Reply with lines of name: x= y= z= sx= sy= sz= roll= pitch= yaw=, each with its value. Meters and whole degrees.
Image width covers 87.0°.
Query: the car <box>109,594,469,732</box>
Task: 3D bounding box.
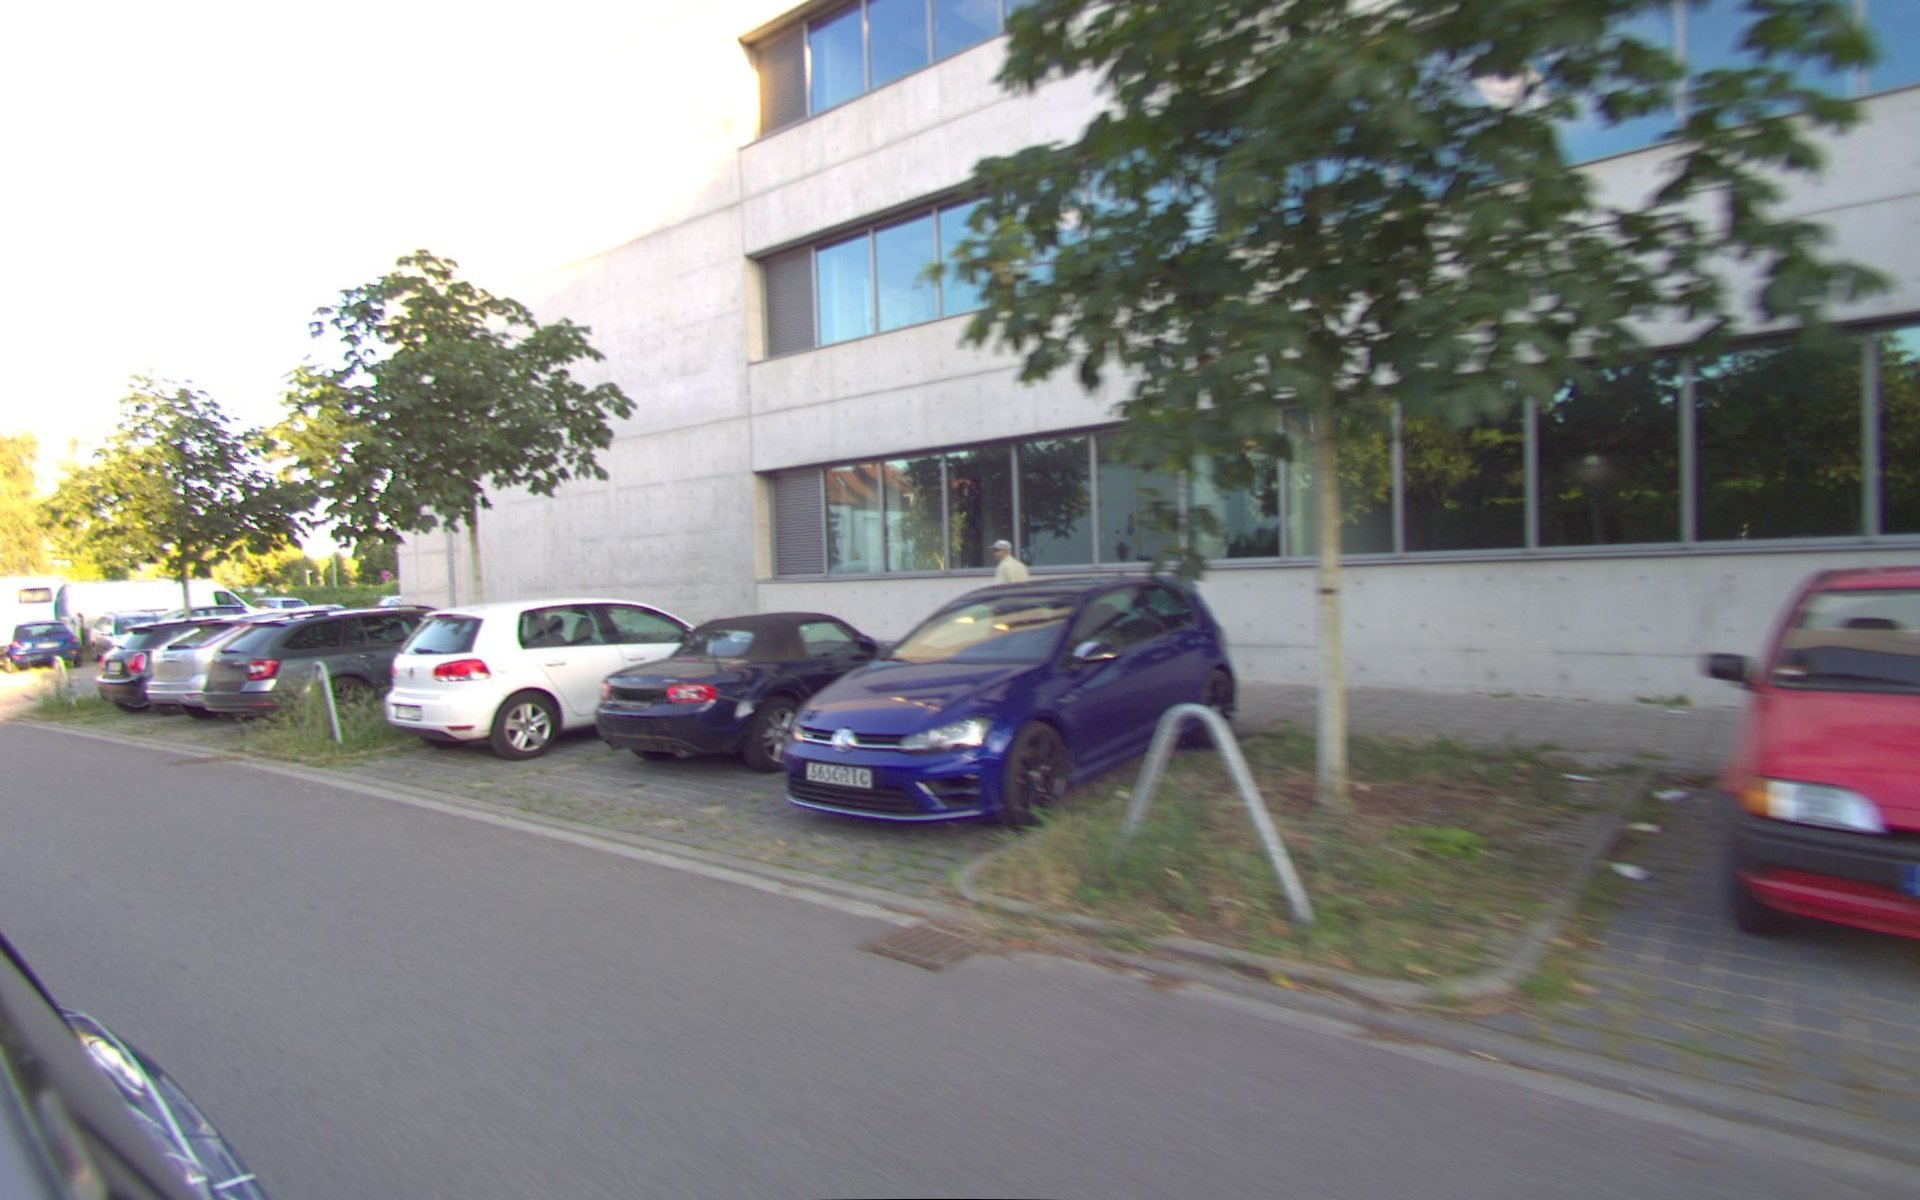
car: x=-9.857 y=0.824 z=15.208 sx=1.840 sy=1.540 sz=4.056 roll=-2 pitch=3 yaw=32

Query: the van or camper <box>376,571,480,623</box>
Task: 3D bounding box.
van or camper: x=-30.358 y=-0.166 z=57.649 sx=6.616 sy=2.710 sz=2.000 roll=-1 pitch=3 yaw=31

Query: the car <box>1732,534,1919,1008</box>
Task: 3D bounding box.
car: x=4.444 y=0.450 z=4.321 sx=1.710 sy=1.468 sz=3.666 roll=-1 pitch=3 yaw=39

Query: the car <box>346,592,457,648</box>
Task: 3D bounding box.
car: x=-19.866 y=0.654 z=35.946 sx=4.396 sy=1.633 sz=1.649 roll=2 pitch=5 yaw=35

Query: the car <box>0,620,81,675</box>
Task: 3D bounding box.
car: x=-27.422 y=1.362 z=29.708 sx=3.715 sy=1.433 sz=1.648 roll=-1 pitch=2 yaw=37

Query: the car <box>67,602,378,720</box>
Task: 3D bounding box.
car: x=-12.000 y=0.920 z=16.703 sx=1.764 sy=1.493 sz=3.706 roll=-3 pitch=2 yaw=32

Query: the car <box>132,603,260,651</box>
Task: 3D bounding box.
car: x=-28.192 y=0.959 z=37.451 sx=1.509 sy=1.458 sz=3.413 roll=-1 pitch=3 yaw=32

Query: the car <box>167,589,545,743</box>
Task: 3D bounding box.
car: x=-7.806 y=0.762 z=13.484 sx=1.580 sy=1.523 sz=3.968 roll=-3 pitch=2 yaw=32

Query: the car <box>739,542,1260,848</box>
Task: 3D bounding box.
car: x=0.530 y=0.427 z=7.261 sx=1.758 sy=1.522 sz=3.833 roll=-2 pitch=2 yaw=39

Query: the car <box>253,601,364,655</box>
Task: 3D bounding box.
car: x=-22.413 y=0.923 z=34.771 sx=4.396 sy=1.490 sz=1.649 roll=2 pitch=5 yaw=35

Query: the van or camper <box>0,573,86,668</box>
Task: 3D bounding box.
van or camper: x=-31.745 y=0.775 z=31.256 sx=2.399 sy=2.919 sz=6.694 roll=-1 pitch=2 yaw=30

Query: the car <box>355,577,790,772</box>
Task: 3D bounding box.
car: x=-3.934 y=0.630 z=10.839 sx=1.758 sy=1.522 sz=3.949 roll=-2 pitch=2 yaw=39

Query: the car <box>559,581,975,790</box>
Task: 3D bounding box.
car: x=-1.563 y=0.620 z=9.333 sx=1.681 sy=1.372 sz=3.604 roll=-2 pitch=2 yaw=34

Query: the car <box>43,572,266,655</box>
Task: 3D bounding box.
car: x=-30.690 y=0.424 z=38.845 sx=2.216 sy=2.692 sz=6.196 roll=-1 pitch=3 yaw=32

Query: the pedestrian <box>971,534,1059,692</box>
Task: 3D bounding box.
pedestrian: x=0.655 y=0.135 z=12.021 sx=0.724 sy=1.797 sz=0.639 roll=-1 pitch=3 yaw=39

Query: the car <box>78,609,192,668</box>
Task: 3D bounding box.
car: x=-25.108 y=1.106 z=30.773 sx=4.196 sy=1.490 sz=1.648 roll=1 pitch=4 yaw=37
